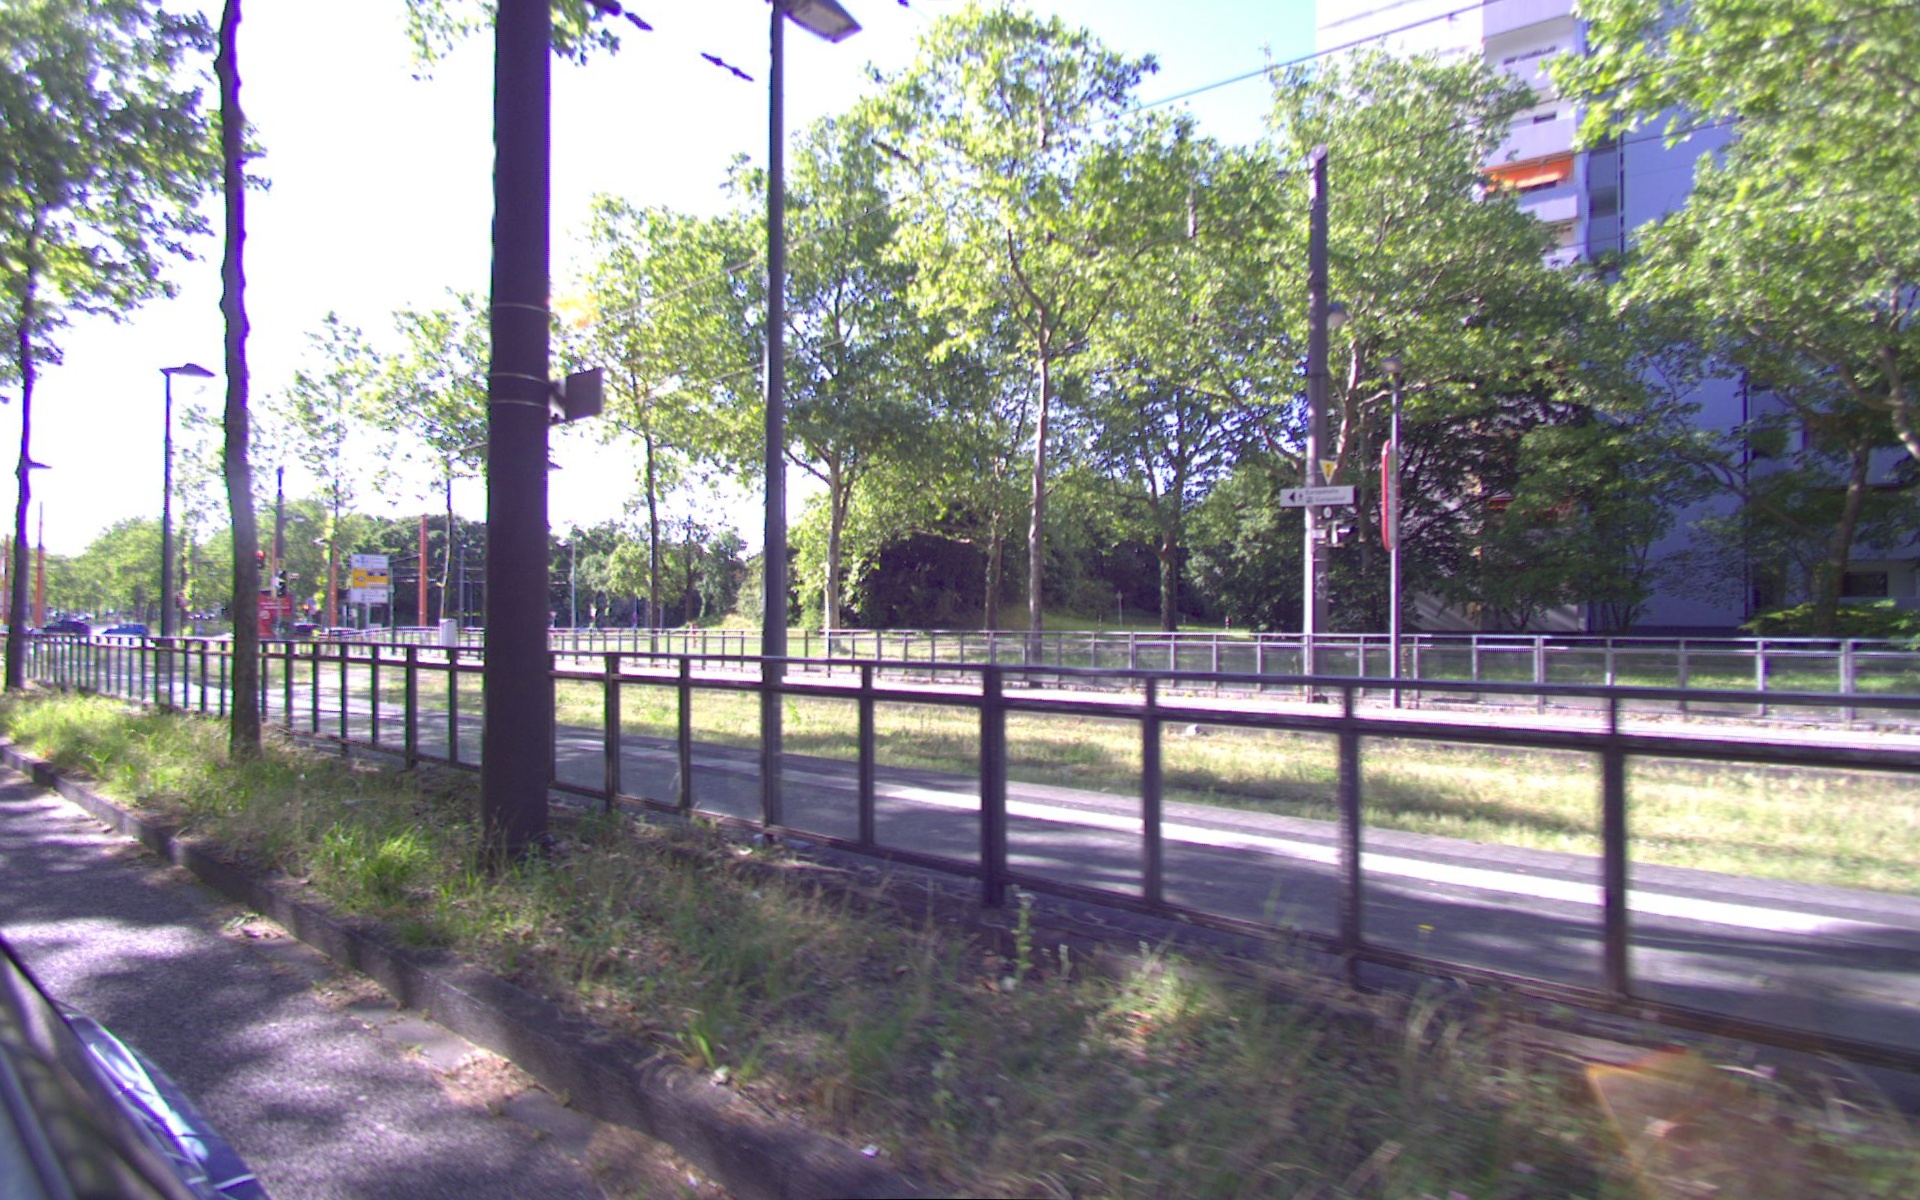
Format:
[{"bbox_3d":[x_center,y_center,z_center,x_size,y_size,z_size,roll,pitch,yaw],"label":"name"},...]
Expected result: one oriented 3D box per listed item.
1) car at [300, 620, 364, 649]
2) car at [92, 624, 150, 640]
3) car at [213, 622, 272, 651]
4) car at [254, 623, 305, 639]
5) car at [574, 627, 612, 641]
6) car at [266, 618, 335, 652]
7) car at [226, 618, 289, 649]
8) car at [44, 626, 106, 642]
[{"bbox_3d":[-34.740,1.884,55.961,4.264,1.522,1.776,-1,-2,40],"label":"car"},{"bbox_3d":[-80.674,3.043,97.407,3.930,1.522,1.806,1,-2,-24],"label":"car"},{"bbox_3d":[-41.541,2.105,58.572,4.230,1.629,1.776,-2,-2,40],"label":"car"},{"bbox_3d":[-68.050,3.087,101.238,3.930,1.522,1.806,1,-2,-24],"label":"car"},{"bbox_3d":[-40.988,3.797,113.022,3.930,1.522,1.806,1,-2,-24],"label":"car"},{"bbox_3d":[-33.320,1.733,51.083,4.264,1.620,1.776,-1,-2,40],"label":"car"},{"bbox_3d":[-37.951,1.792,54.635,4.230,1.629,1.776,-1,-2,40],"label":"car"},{"bbox_3d":[-81.112,3.115,92.797,3.930,1.522,1.806,1,-2,-24],"label":"car"}]
